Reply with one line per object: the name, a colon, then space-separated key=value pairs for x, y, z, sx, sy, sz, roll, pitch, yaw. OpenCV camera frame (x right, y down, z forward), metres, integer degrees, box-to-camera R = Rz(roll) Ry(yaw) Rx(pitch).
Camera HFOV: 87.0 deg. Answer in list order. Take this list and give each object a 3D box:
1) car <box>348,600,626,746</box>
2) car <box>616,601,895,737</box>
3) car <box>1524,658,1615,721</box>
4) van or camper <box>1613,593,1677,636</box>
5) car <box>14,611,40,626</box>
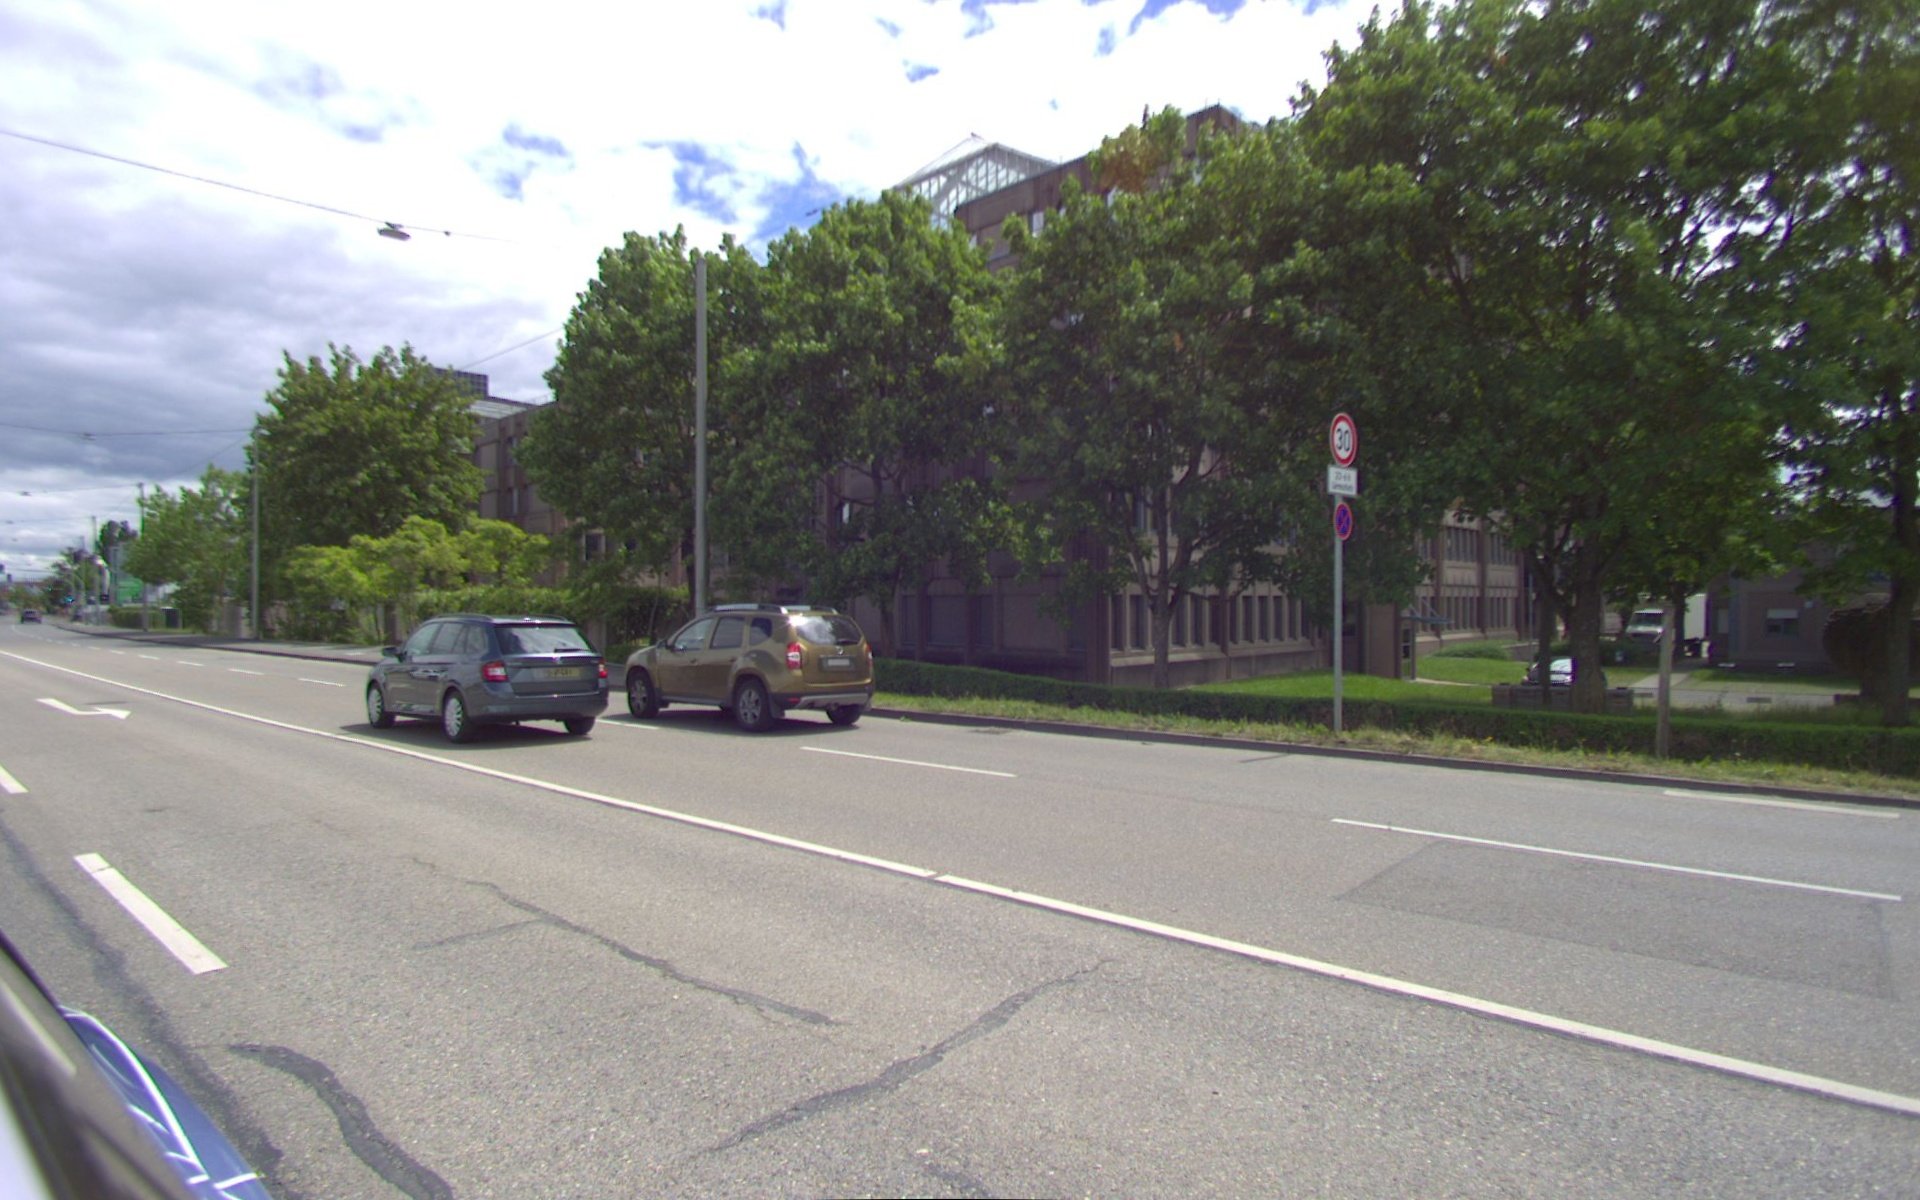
car: x=-5.999 y=0.863 z=12.636 sx=4.006 sy=1.536 sz=1.651 roll=-2 pitch=-4 yaw=41
car: x=-2.951 y=0.871 z=14.191 sx=3.997 sy=1.643 sz=1.733 roll=0 pitch=-2 yaw=40
car: x=19.555 y=2.795 z=32.416 sx=1.786 sy=1.741 sz=3.944 roll=0 pitch=-1 yaw=42
van or camper: x=35.748 y=0.733 z=52.753 sx=2.356 sy=2.120 sz=5.137 roll=0 pitch=0 yaw=39
car: x=-110.557 y=2.183 z=119.905 sx=4.572 sy=1.627 sz=1.847 roll=0 pitch=0 yaw=43
